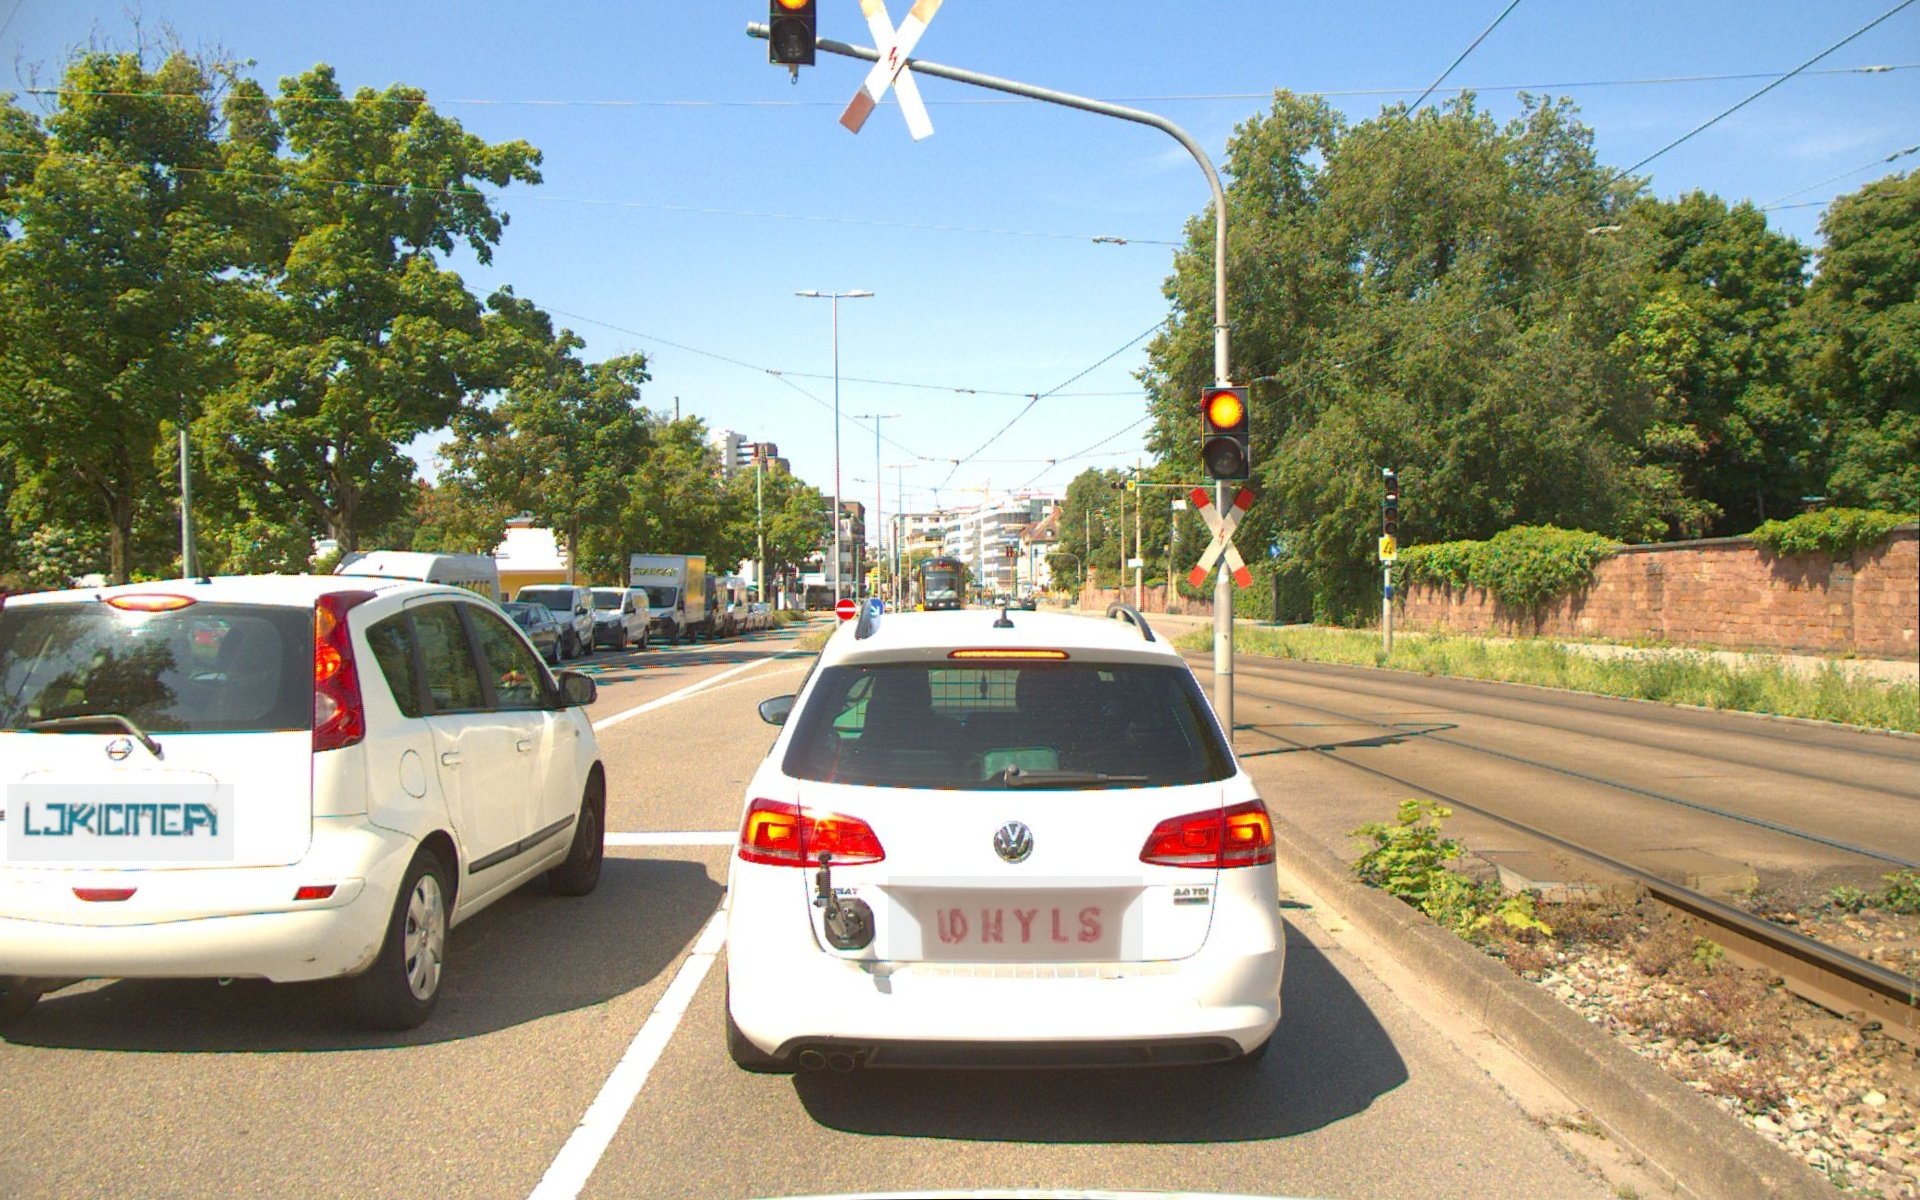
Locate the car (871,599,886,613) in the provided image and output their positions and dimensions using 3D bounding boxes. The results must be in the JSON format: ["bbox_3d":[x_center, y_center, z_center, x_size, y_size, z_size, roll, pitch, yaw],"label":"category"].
[{"bbox_3d":[-9.484,0.701,193.197,1.671,1.499,4.586,-1,0,-3],"label":"car"}]

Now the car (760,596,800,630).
[{"bbox_3d":[-10.692,0.726,98.430,1.826,1.900,5.412,1,0,-1],"label":"car"}]

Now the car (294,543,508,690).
[{"bbox_3d":[-10.733,0.281,32.314,2.079,2.560,5.817,1,0,1],"label":"car"}]

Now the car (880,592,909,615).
[{"bbox_3d":[-4.443,0.230,112.671,1.670,1.499,4.589,-1,0,0],"label":"car"}]

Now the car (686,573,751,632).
[{"bbox_3d":[-10.973,0.110,75.588,2.079,2.560,5.733,1,0,0],"label":"car"}]

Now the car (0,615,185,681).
[{"bbox_3d":[-21.722,1.176,41.248,3.909,1.440,1.728,-2,0,-5],"label":"car"}]

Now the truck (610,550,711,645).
[{"bbox_3d":[-10.779,-0.099,60.156,2.371,3.205,6.996,1,0,0],"label":"truck"}]

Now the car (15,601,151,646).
[{"bbox_3d":[-37.799,0.996,71.384,4.698,1.819,2.062,1,0,-5],"label":"car"}]

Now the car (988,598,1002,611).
[{"bbox_3d":[5.226,0.663,247.522,1.826,1.900,5.060,1,0,-2],"label":"car"}]

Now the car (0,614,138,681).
[{"bbox_3d":[-21.603,1.123,38.596,3.909,1.440,1.728,-2,0,-5],"label":"car"}]

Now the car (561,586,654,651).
[{"bbox_3d":[-10.954,0.537,51.729,1.826,1.900,5.412,1,0,-1],"label":"car"}]

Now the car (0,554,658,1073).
[{"bbox_3d":[-2.568,0.638,7.302,1.628,1.575,4.546,0,0,0],"label":"car"}]

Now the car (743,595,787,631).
[{"bbox_3d":[-10.746,0.704,91.513,1.826,1.900,5.412,1,0,-1],"label":"car"}]

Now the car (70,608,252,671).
[{"bbox_3d":[-21.099,1.033,43.789,3.909,1.440,1.728,-2,0,-5],"label":"car"}]

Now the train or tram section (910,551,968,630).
[{"bbox_3d":[-1.150,-0.506,89.558,2.812,3.923,12.389,-1,0,-1],"label":"train or tram section"}]

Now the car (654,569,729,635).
[{"bbox_3d":[-10.997,0.075,68.152,2.079,2.560,5.733,1,0,0],"label":"car"}]

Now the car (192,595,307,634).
[{"bbox_3d":[-34.883,0.693,81.307,4.698,1.819,2.062,1,0,-5],"label":"car"}]

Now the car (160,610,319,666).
[{"bbox_3d":[-21.265,1.111,48.935,3.909,1.440,1.728,-2,0,-5],"label":"car"}]

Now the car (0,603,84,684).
[{"bbox_3d":[-21.067,0.970,35.124,3.909,1.638,1.728,-2,0,-5],"label":"car"}]

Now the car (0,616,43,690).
[{"bbox_3d":[-20.722,1.129,32.920,3.909,1.440,1.728,-2,0,-5],"label":"car"}]

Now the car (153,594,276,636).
[{"bbox_3d":[-34.433,0.679,76.467,4.698,1.819,2.062,1,0,-5],"label":"car"}]

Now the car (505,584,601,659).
[{"bbox_3d":[-11.025,0.538,45.139,1.827,1.900,5.068,1,0,-6],"label":"car"}]

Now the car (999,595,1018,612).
[{"bbox_3d":[5.655,0.375,192.674,1.826,1.900,5.060,1,0,-2],"label":"car"}]

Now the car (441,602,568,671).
[{"bbox_3d":[-10.544,0.809,38.577,1.826,1.440,4.278,1,0,-1],"label":"car"}]

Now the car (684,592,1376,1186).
[{"bbox_3d":[0.154,0.720,6.192,1.726,1.455,3.999,-1,0,-1],"label":"car"}]

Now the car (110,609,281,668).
[{"bbox_3d":[-21.277,1.066,46.117,3.909,1.440,1.728,-2,0,-5],"label":"car"}]

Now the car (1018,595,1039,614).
[{"bbox_3d":[7.312,0.475,176.903,1.826,1.900,5.060,1,0,-2],"label":"car"}]
